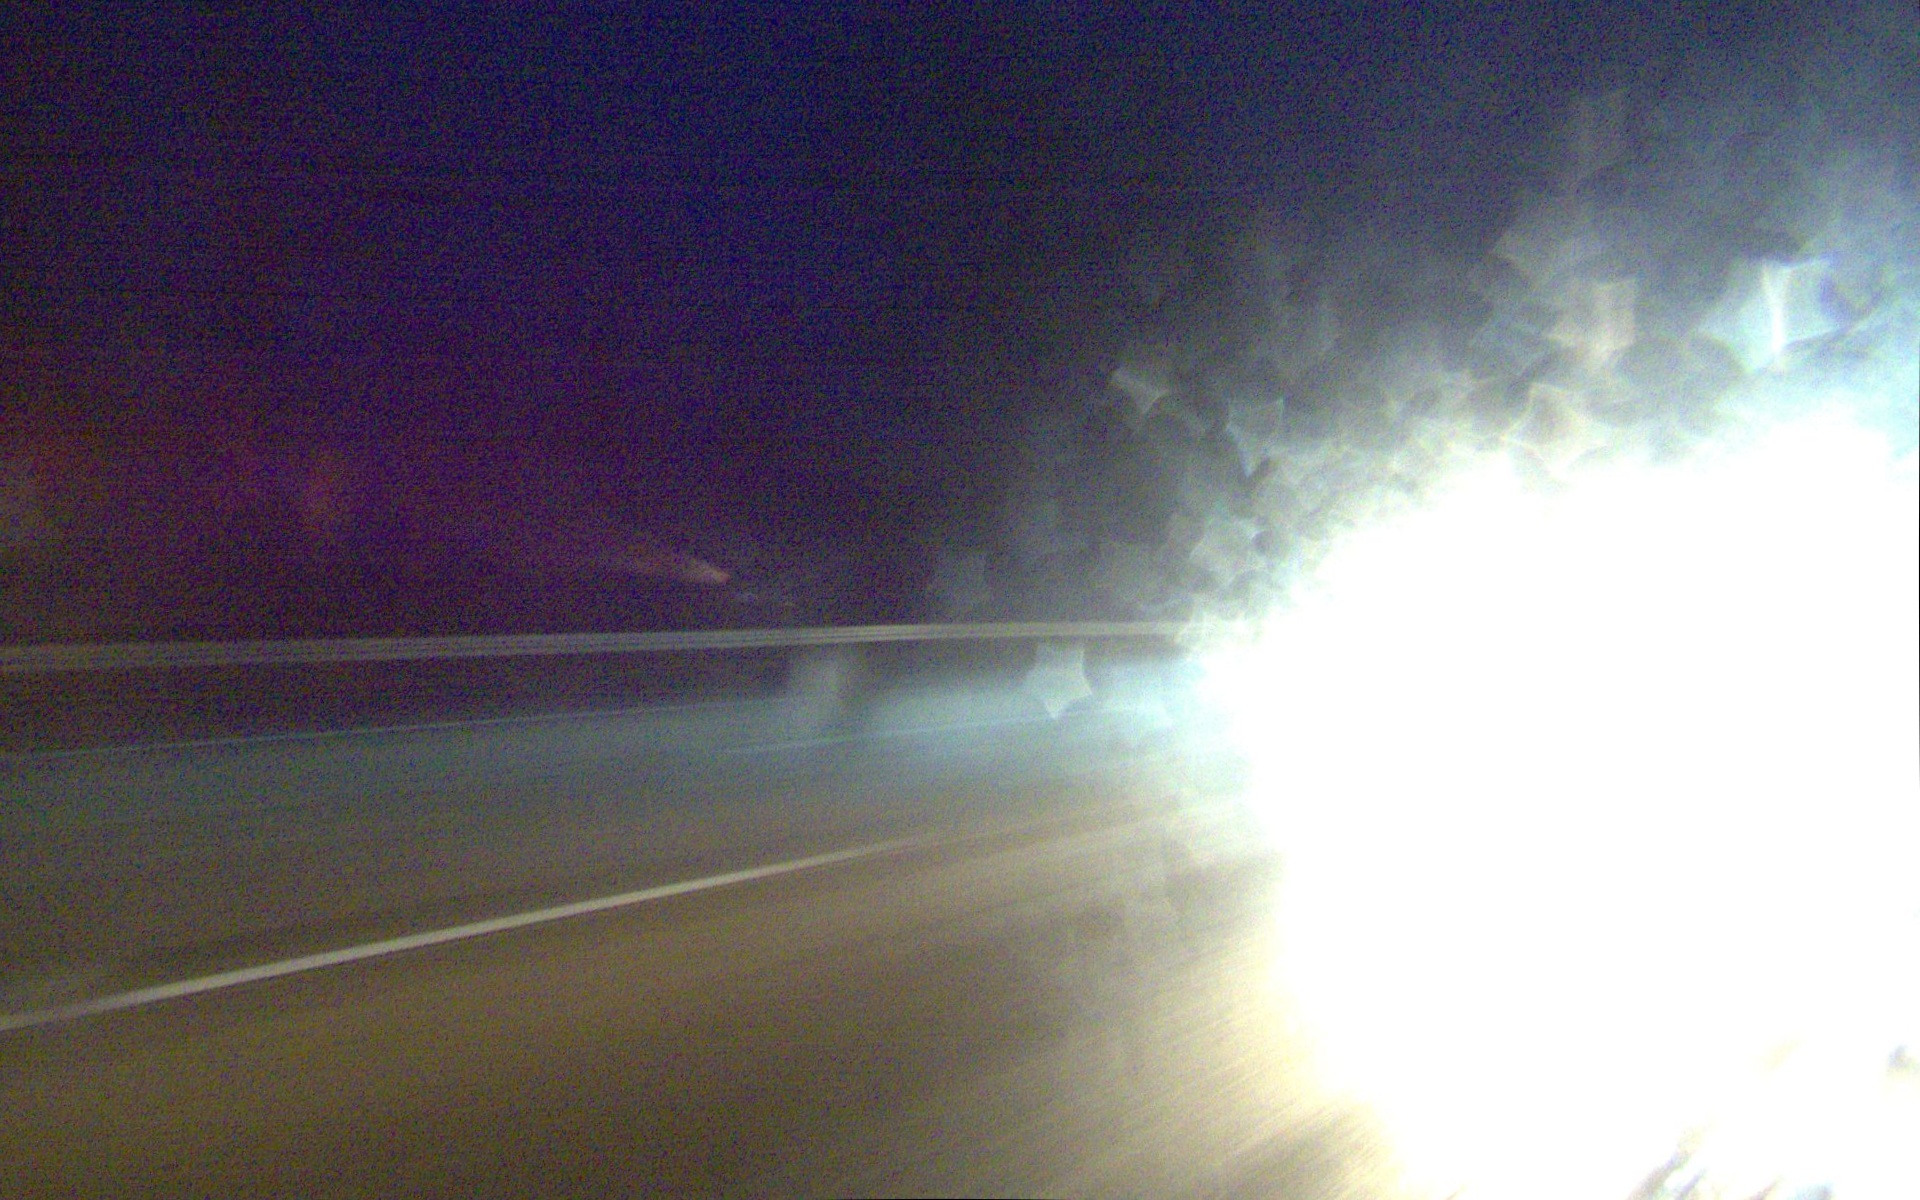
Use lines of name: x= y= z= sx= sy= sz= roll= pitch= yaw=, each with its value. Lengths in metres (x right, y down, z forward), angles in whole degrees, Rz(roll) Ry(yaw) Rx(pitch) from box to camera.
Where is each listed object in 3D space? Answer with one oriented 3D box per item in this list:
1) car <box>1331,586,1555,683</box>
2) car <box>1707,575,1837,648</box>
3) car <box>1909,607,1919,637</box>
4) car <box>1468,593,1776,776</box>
car: x=8.695 y=0.540 z=18.000 sx=4.876 sy=1.505 sz=1.897 roll=0 pitch=0 yaw=-42
car: x=24.725 y=0.300 z=30.738 sx=5.310 sy=1.998 sz=2.051 roll=0 pitch=2 yaw=-40
car: x=49.446 y=1.087 z=51.081 sx=5.272 sy=1.498 sz=1.746 roll=0 pitch=0 yaw=-41
car: x=6.531 y=0.651 z=9.834 sx=3.727 sy=1.430 sz=1.614 roll=0 pitch=1 yaw=-42
